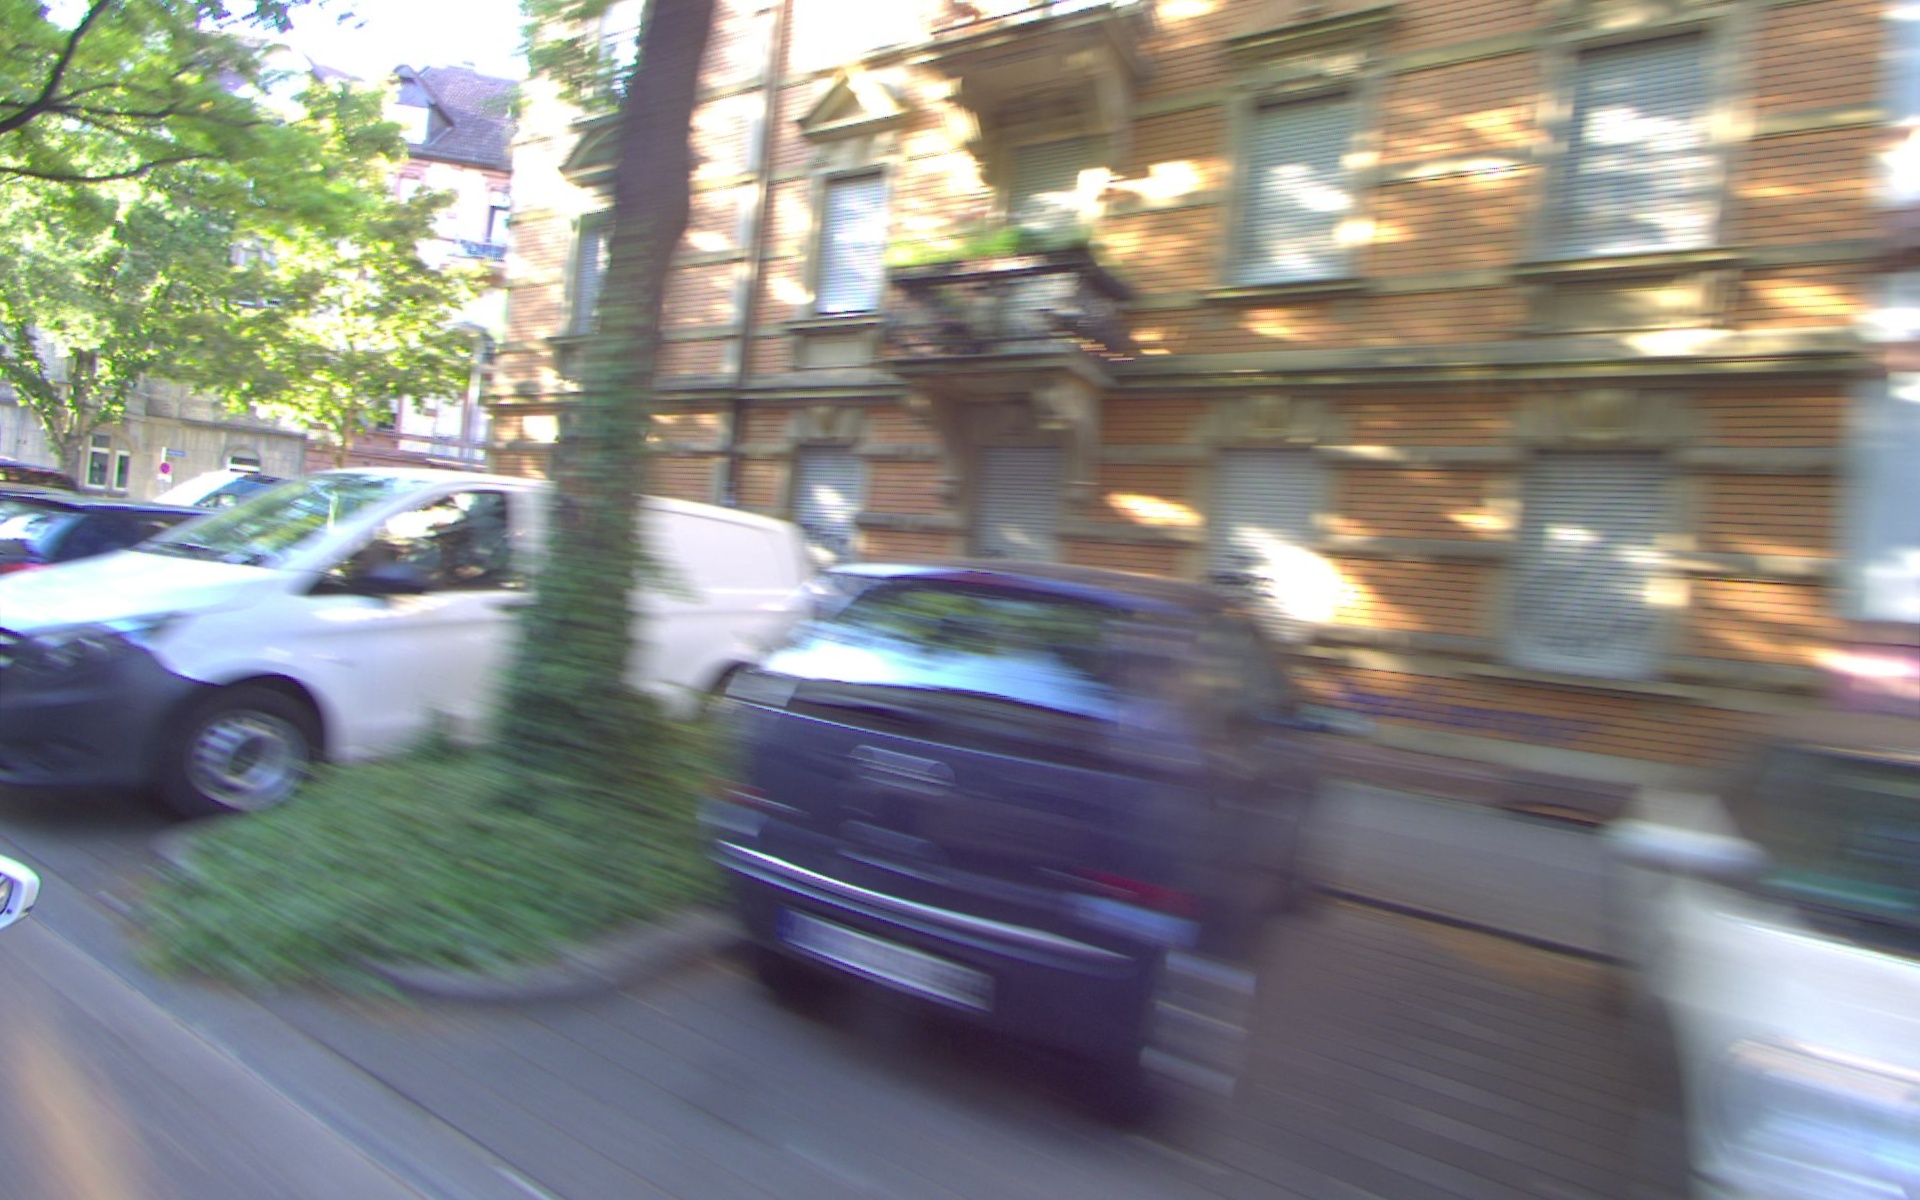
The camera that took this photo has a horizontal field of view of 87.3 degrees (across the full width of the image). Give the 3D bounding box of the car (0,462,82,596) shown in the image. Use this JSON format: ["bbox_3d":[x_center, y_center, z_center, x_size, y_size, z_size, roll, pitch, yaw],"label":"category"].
[{"bbox_3d":[-15.514,-1.234,14.144,1.905,1.908,4.277,7,0,27],"label":"car"}]

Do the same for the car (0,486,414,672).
[{"bbox_3d":[-7.834,-0.185,9.386,1.901,1.474,4.374,7,0,31],"label":"car"}]

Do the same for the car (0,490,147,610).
[{"bbox_3d":[-13.555,-0.820,13.263,1.860,1.466,3.988,7,0,35],"label":"car"}]

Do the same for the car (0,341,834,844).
[{"bbox_3d":[-3.303,0.108,6.646,2.123,1.963,5.098,3,-2,31],"label":"car"}]

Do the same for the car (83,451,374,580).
[{"bbox_3d":[-19.830,-2.189,27.700,2.337,2.568,5.910,7,-1,25],"label":"car"}]

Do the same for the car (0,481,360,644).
[{"bbox_3d":[-9.530,-0.411,11.555,1.813,1.516,4.085,7,0,31],"label":"car"}]

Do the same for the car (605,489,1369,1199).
[{"bbox_3d":[0.630,0.700,4.364,1.694,1.669,3.893,7,0,26],"label":"car"}]

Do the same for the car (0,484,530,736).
[{"bbox_3d":[-5.735,0.038,8.073,1.749,1.494,3.995,7,1,24],"label":"car"}]

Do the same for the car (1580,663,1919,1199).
[{"bbox_3d":[3.044,1.079,2.968,1.780,1.521,4.111,7,0,30],"label":"car"}]

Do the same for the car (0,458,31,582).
[{"bbox_3d":[-17.815,-1.561,15.529,1.966,2.038,4.623,7,0,29],"label":"car"}]
